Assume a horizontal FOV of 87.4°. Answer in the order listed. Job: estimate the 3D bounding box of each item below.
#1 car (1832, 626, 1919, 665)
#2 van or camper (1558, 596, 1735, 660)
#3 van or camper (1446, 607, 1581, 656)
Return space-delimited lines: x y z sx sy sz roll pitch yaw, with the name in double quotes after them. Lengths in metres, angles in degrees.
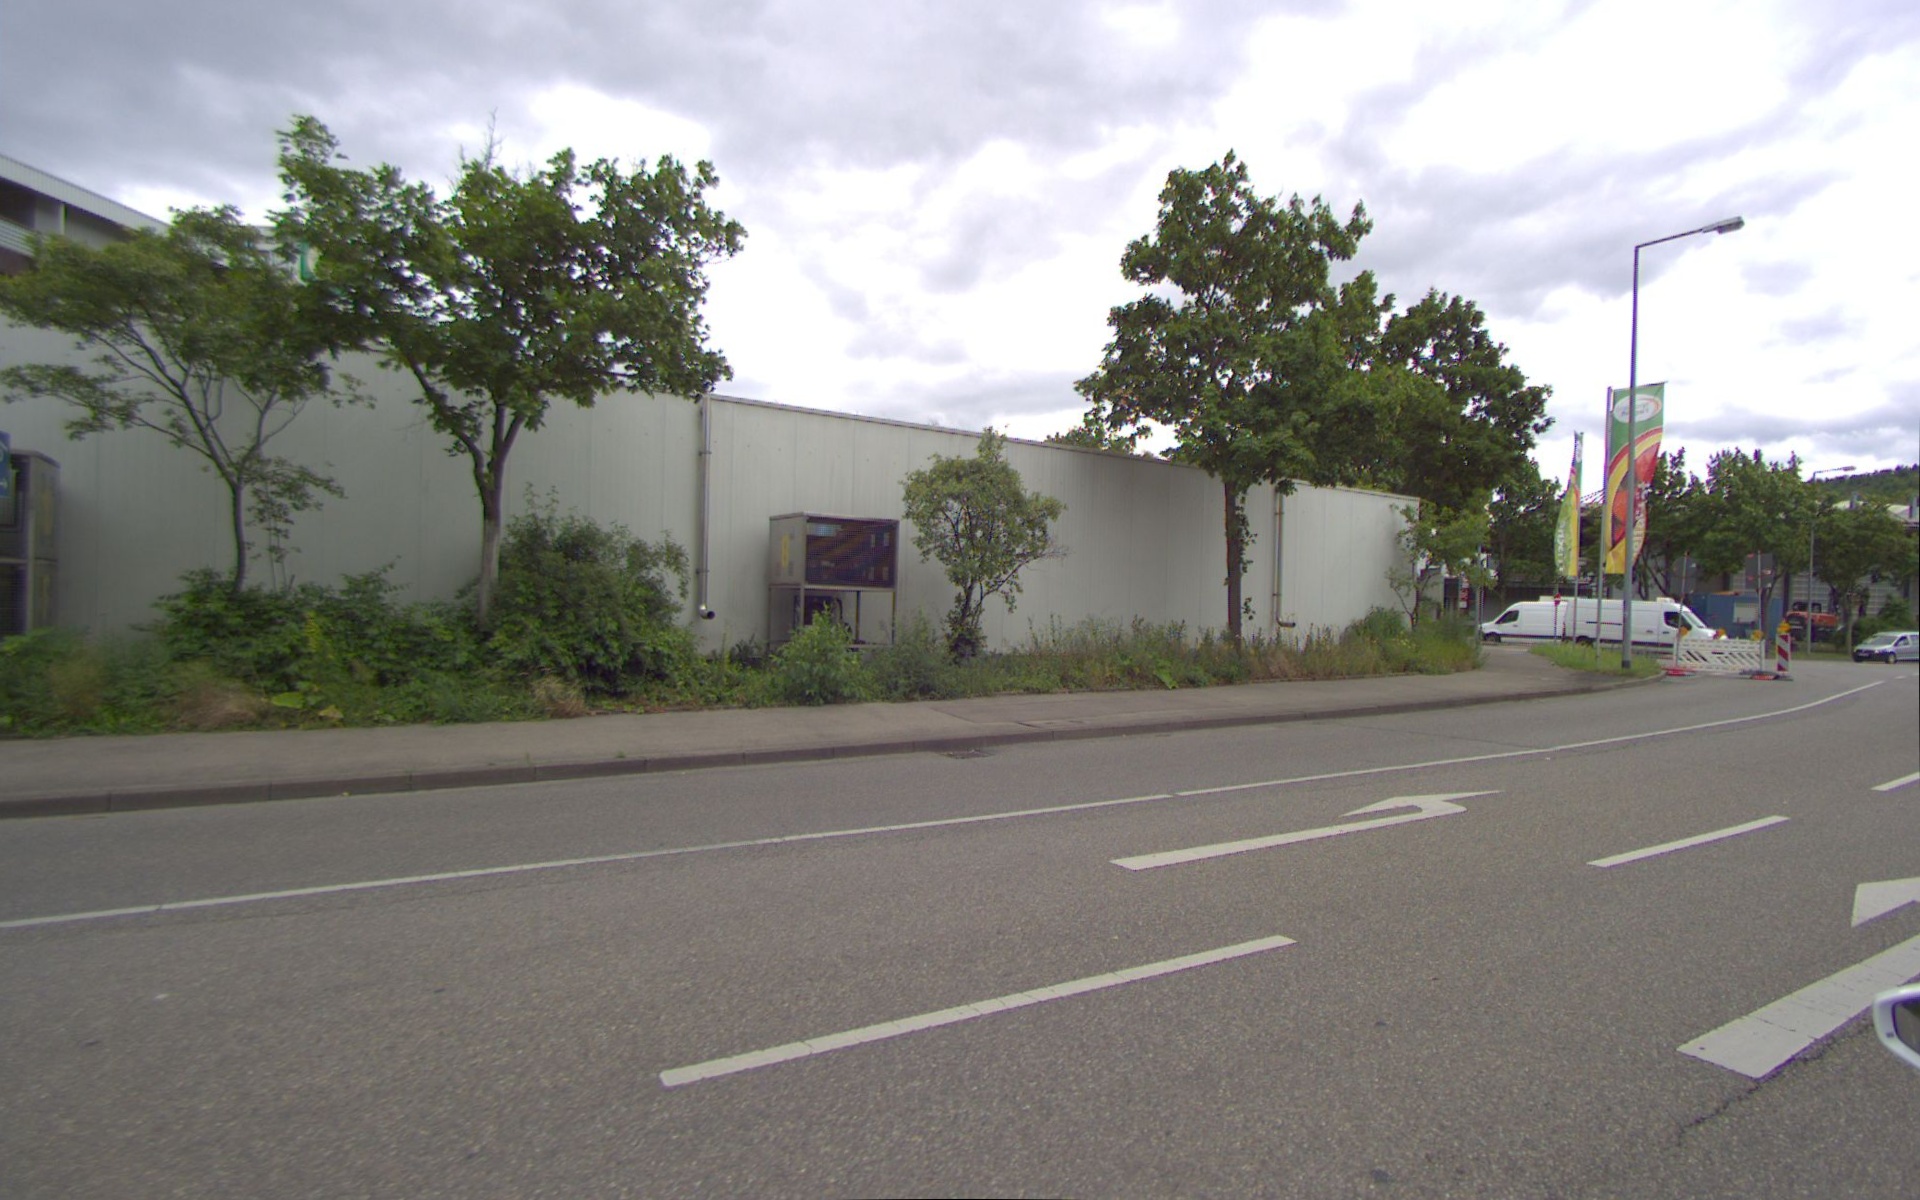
52.635 2.588 57.539 4.060 2.040 1.995 2 1 -13 "car"
30.212 1.175 44.387 2.376 2.277 5.936 3 2 -39 "van or camper"
31.637 1.765 57.536 6.540 2.357 2.009 3 0 34 "van or camper"
